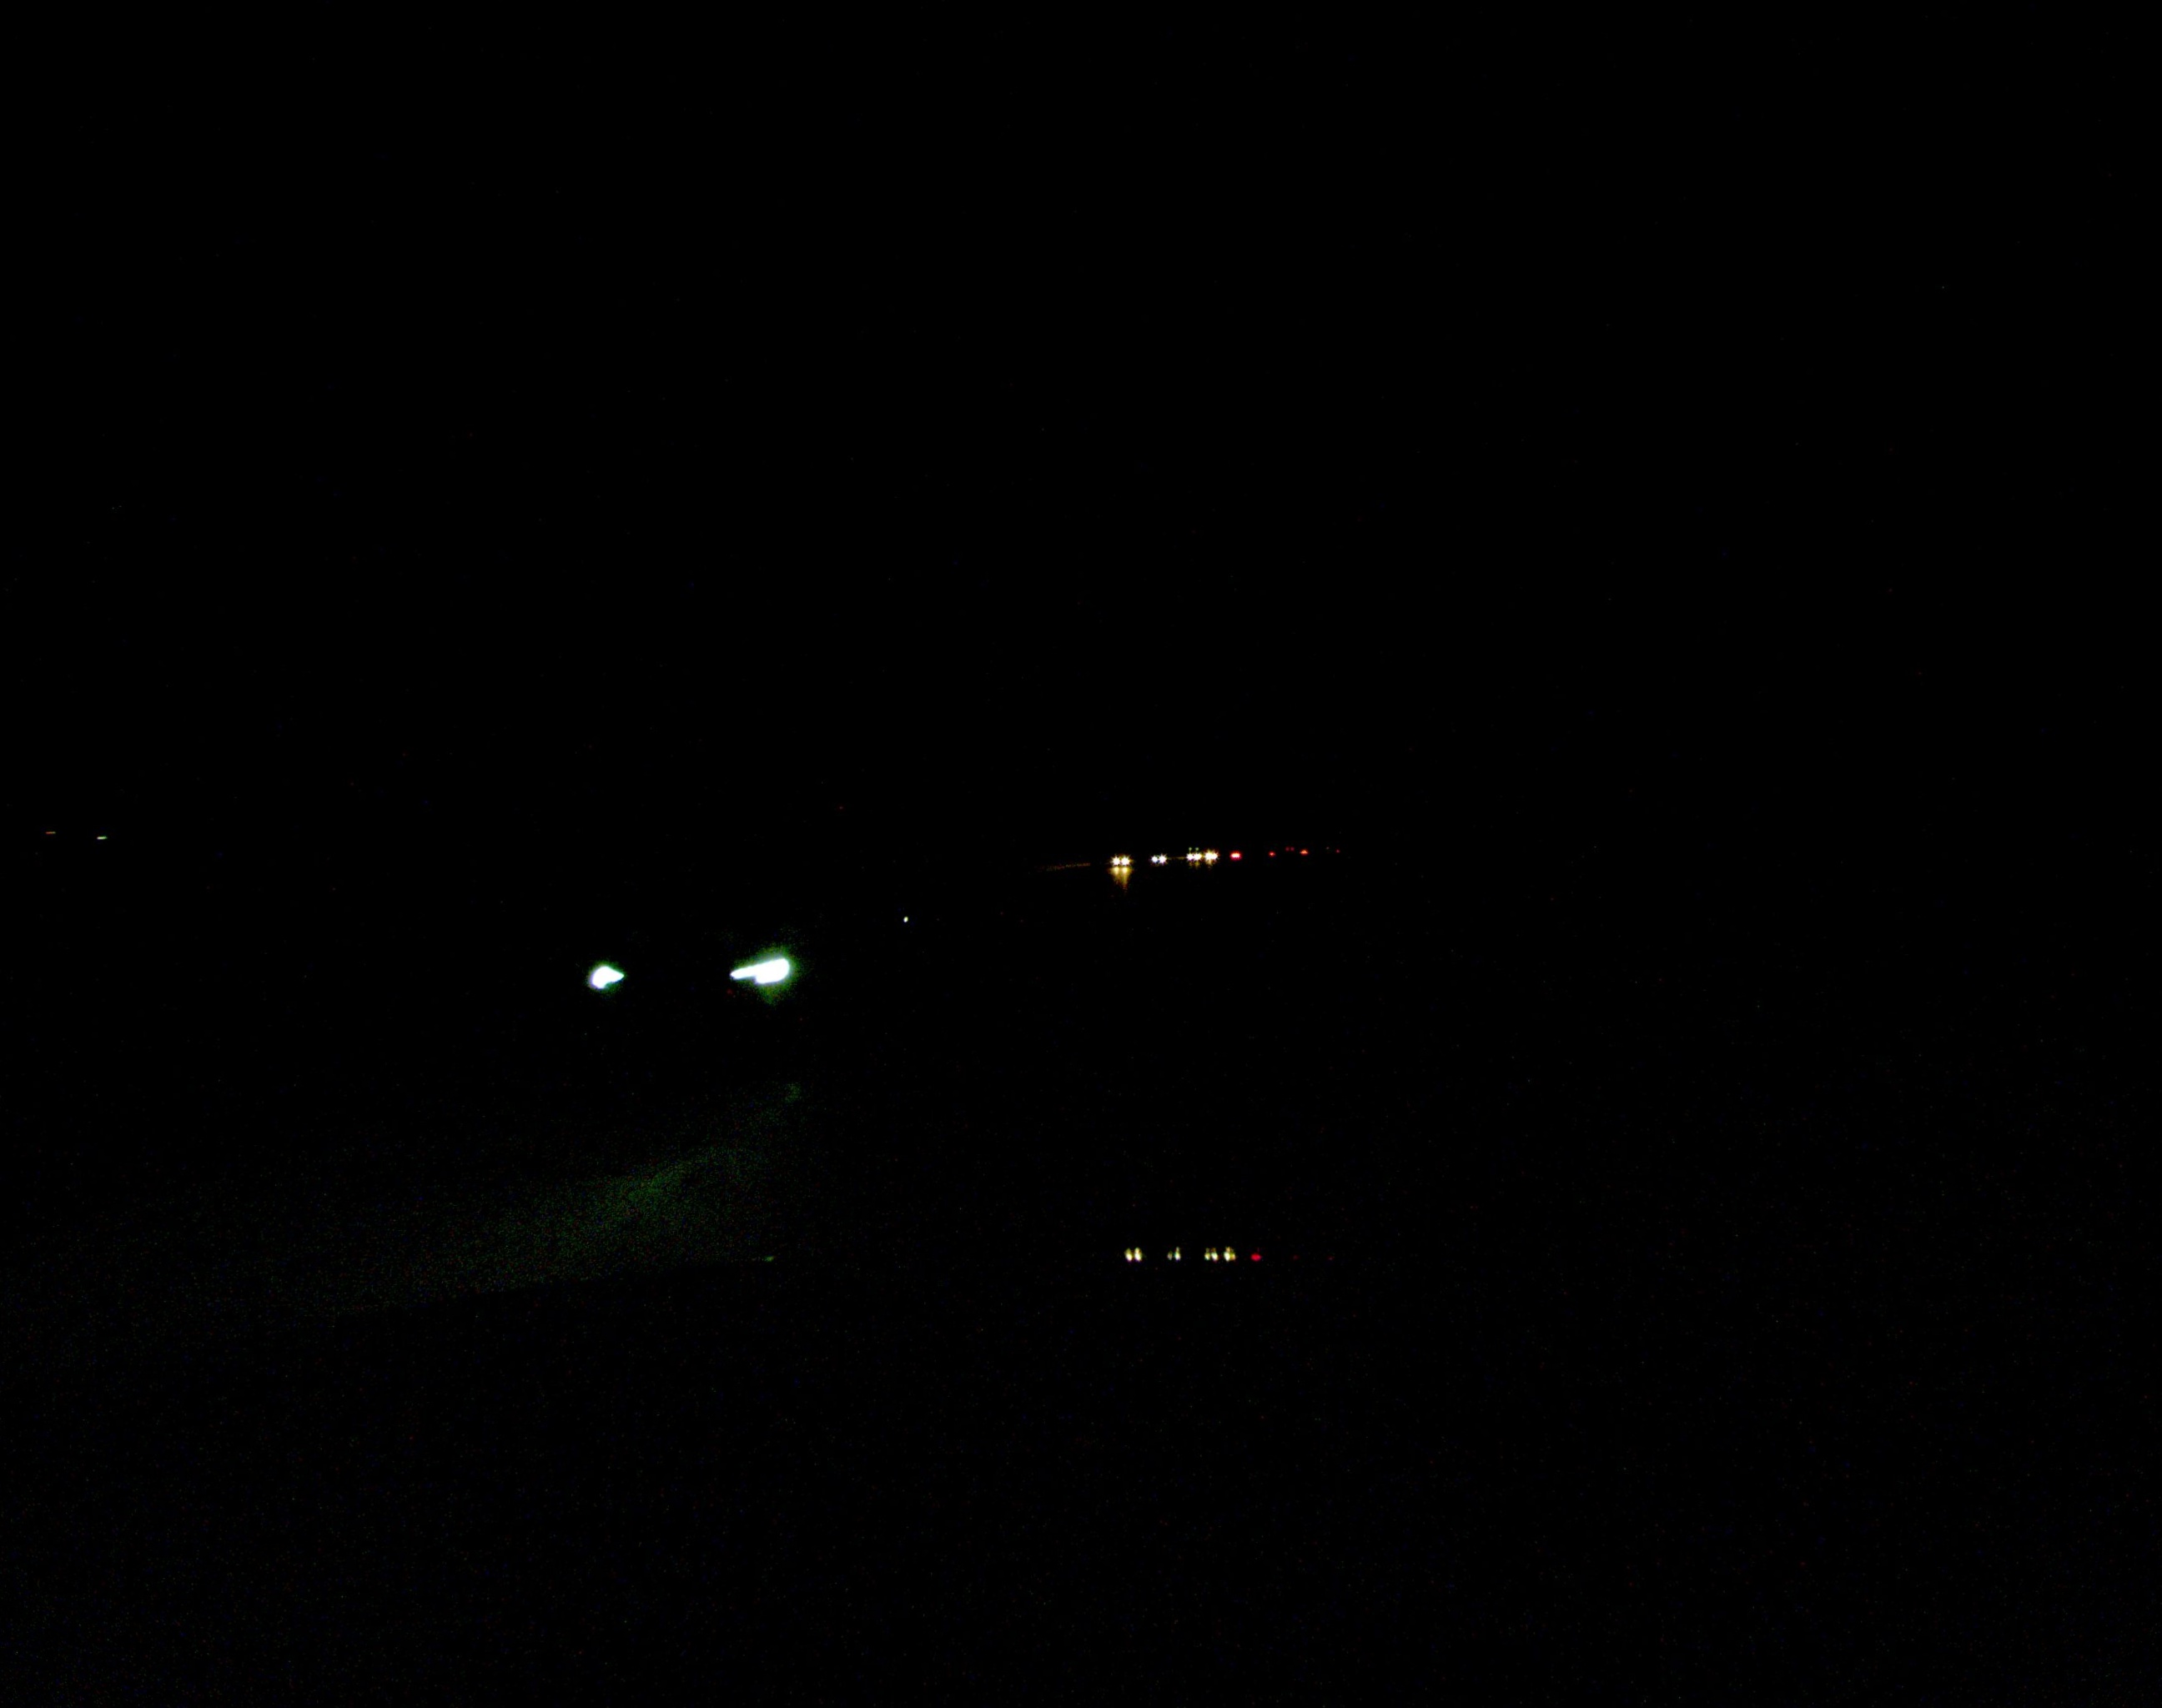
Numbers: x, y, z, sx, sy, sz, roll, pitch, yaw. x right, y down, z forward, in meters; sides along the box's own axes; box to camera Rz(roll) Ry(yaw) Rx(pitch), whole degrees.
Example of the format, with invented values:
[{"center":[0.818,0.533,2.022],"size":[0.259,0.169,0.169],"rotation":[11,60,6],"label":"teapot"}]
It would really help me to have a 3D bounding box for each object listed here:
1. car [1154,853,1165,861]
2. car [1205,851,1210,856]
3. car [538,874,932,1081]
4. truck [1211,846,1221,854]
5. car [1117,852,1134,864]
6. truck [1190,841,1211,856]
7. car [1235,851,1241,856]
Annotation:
[{"center":[15.658,0.649,151.981],"size":[1.811,1.508,3.939],"rotation":[1,0,12],"label":"car"},{"center":[41.619,-0.107,249.533],"size":[1.690,1.619,4.726],"rotation":[1,0,10],"label":"car"},{"center":[-3.083,0.990,8.136],"size":[1.812,1.418,4.875],"rotation":[0,0,3],"label":"car"},{"center":[41.736,-1.366,234.668],"size":[2.424,2.410,7.099],"rotation":[0,1,14],"label":"truck"},{"center":[5.824,0.520,98.711],"size":[1.811,1.508,3.938],"rotation":[1,0,9],"label":"car"},{"center":[35.874,-1.680,227.476],"size":[2.967,4.251,17.167],"rotation":[0,1,20],"label":"truck"},{"center":[52.002,-0.224,251.369],"size":[1.821,1.507,4.527],"rotation":[0,1,14],"label":"car"}]
